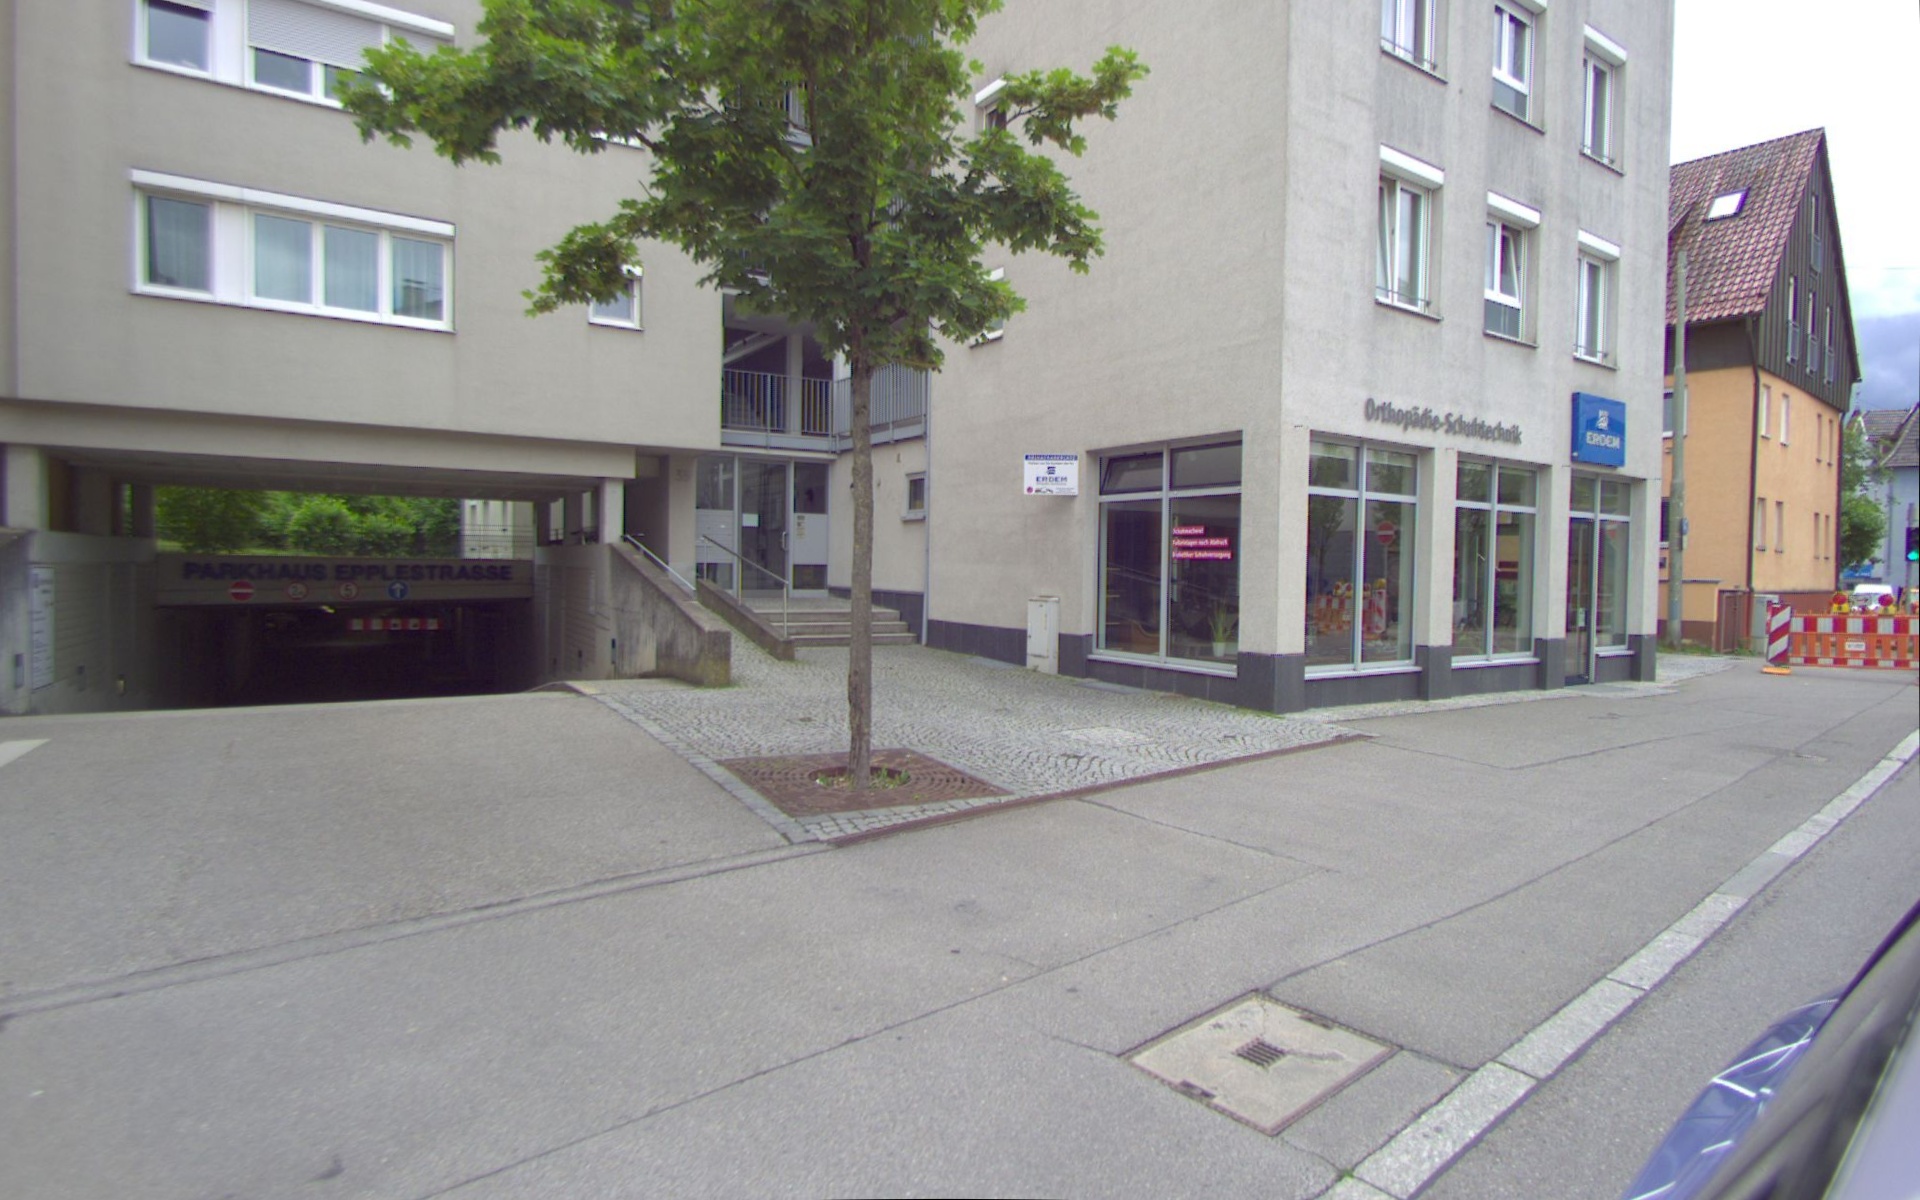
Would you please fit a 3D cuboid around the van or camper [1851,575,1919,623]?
[{"bbox_3d":[55.762,-0.052,60.934,2.311,2.640,6.131,3,1,34],"label":"van or camper"}]

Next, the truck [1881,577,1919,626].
[{"bbox_3d":[51.309,0.126,53.470,2.401,2.496,6.242,3,1,29],"label":"truck"}]
